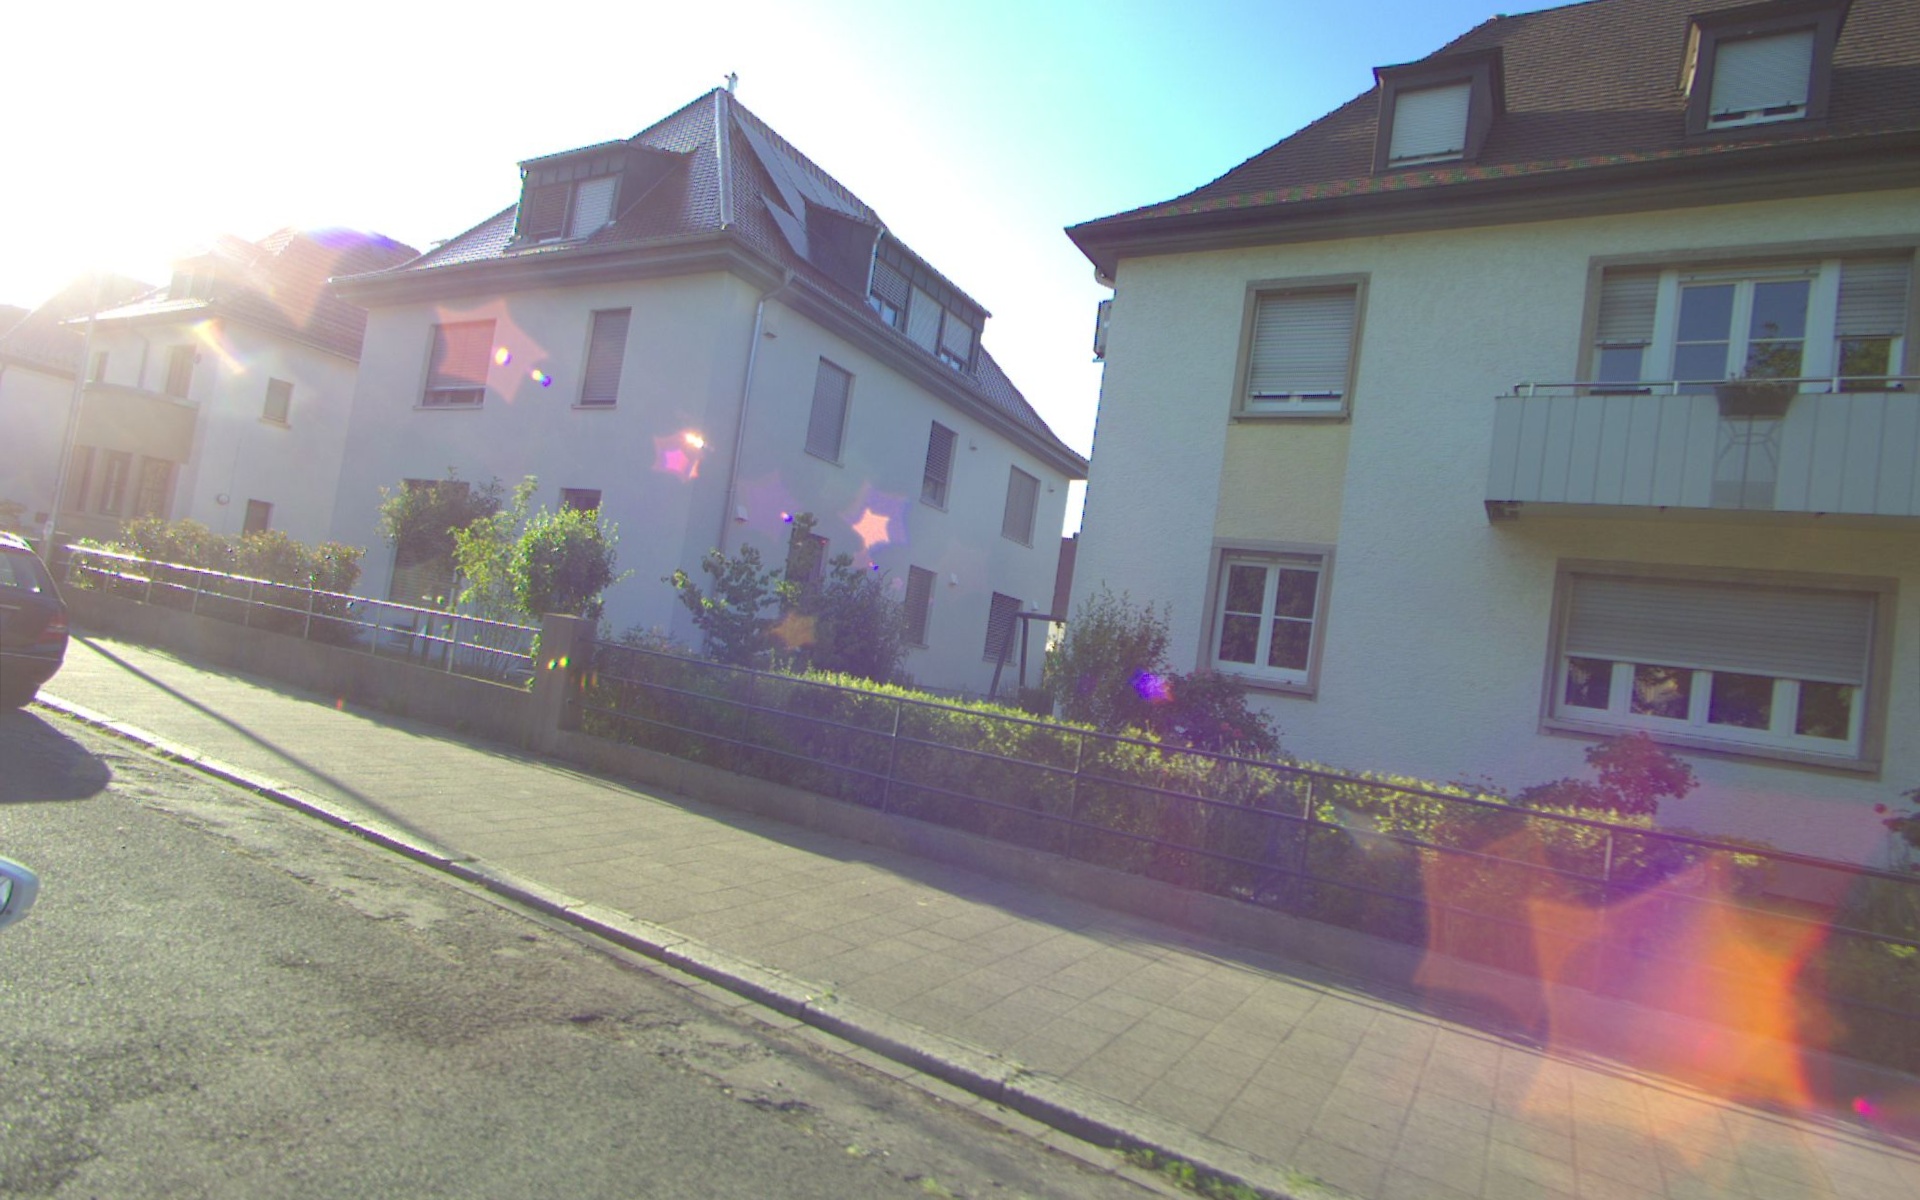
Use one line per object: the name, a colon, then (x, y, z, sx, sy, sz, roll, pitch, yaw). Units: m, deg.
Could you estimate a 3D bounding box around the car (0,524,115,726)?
car: (-9.488, -0.074, 8.673, 4.323, 1.512, 1.789, 6, -7, 30)
